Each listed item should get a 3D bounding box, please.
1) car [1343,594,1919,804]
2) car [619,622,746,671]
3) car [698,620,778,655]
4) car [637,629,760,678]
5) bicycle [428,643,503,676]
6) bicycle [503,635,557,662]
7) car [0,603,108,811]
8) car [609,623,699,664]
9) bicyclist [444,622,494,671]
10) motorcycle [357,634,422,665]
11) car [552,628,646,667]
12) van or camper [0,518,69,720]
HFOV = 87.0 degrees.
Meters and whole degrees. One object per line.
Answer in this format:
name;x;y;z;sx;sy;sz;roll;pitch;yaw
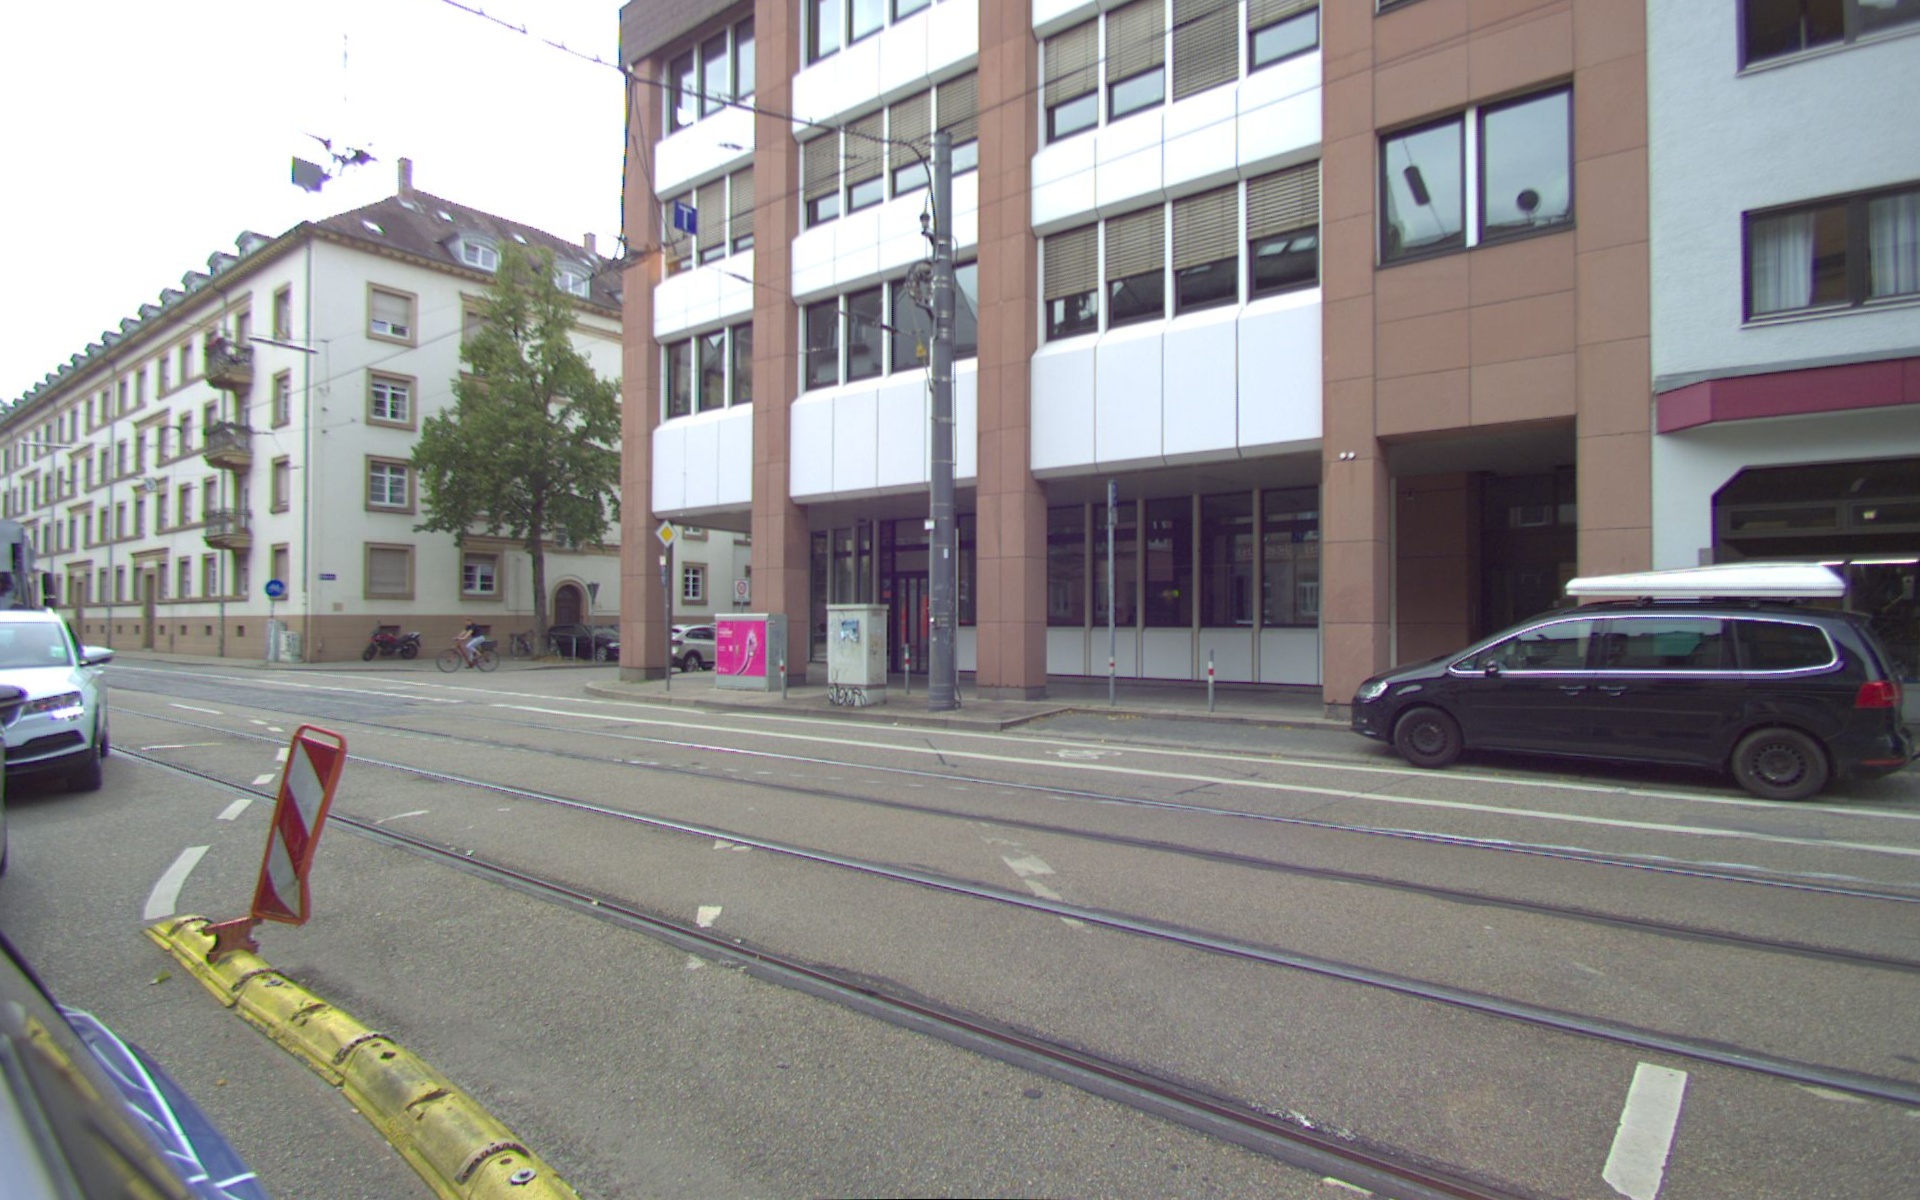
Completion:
car;6.560;0.839;10.229;4.694;1.659;1.789;-2;0;40
car;-9.837;1.605;36.033;3.985;1.549;1.777;-1;-1;-40
car;-9.849;1.656;44.779;3.520;1.473;1.572;-1;-2;38
car;-7.946;1.602;31.038;1.606;1.399;3.611;-1;-2;31
bicycle;-15.207;1.814;31.153;1.982;0.972;0.673;1;-3;-44
bicycle;-17.561;1.967;41.388;0.792;1.094;1.900;-2;-2;39
car;-9.116;0.876;9.206;1.748;1.603;4.284;-1;-1;-45
car;-12.255;1.713;40.430;3.711;1.559;1.591;-1;-2;38
bicyclist;-15.151;1.431;31.224;1.241;1.473;0.678;1;-3;-43
motorcycle;-20.891;1.805;37.080;0.792;1.094;1.900;-2;-2;39
car;-13.804;1.777;38.633;3.869;1.407;1.591;-1;-2;38
van or camper;-20.317;0.418;19.952;9.642;3.447;2.575;-2;-2;39
